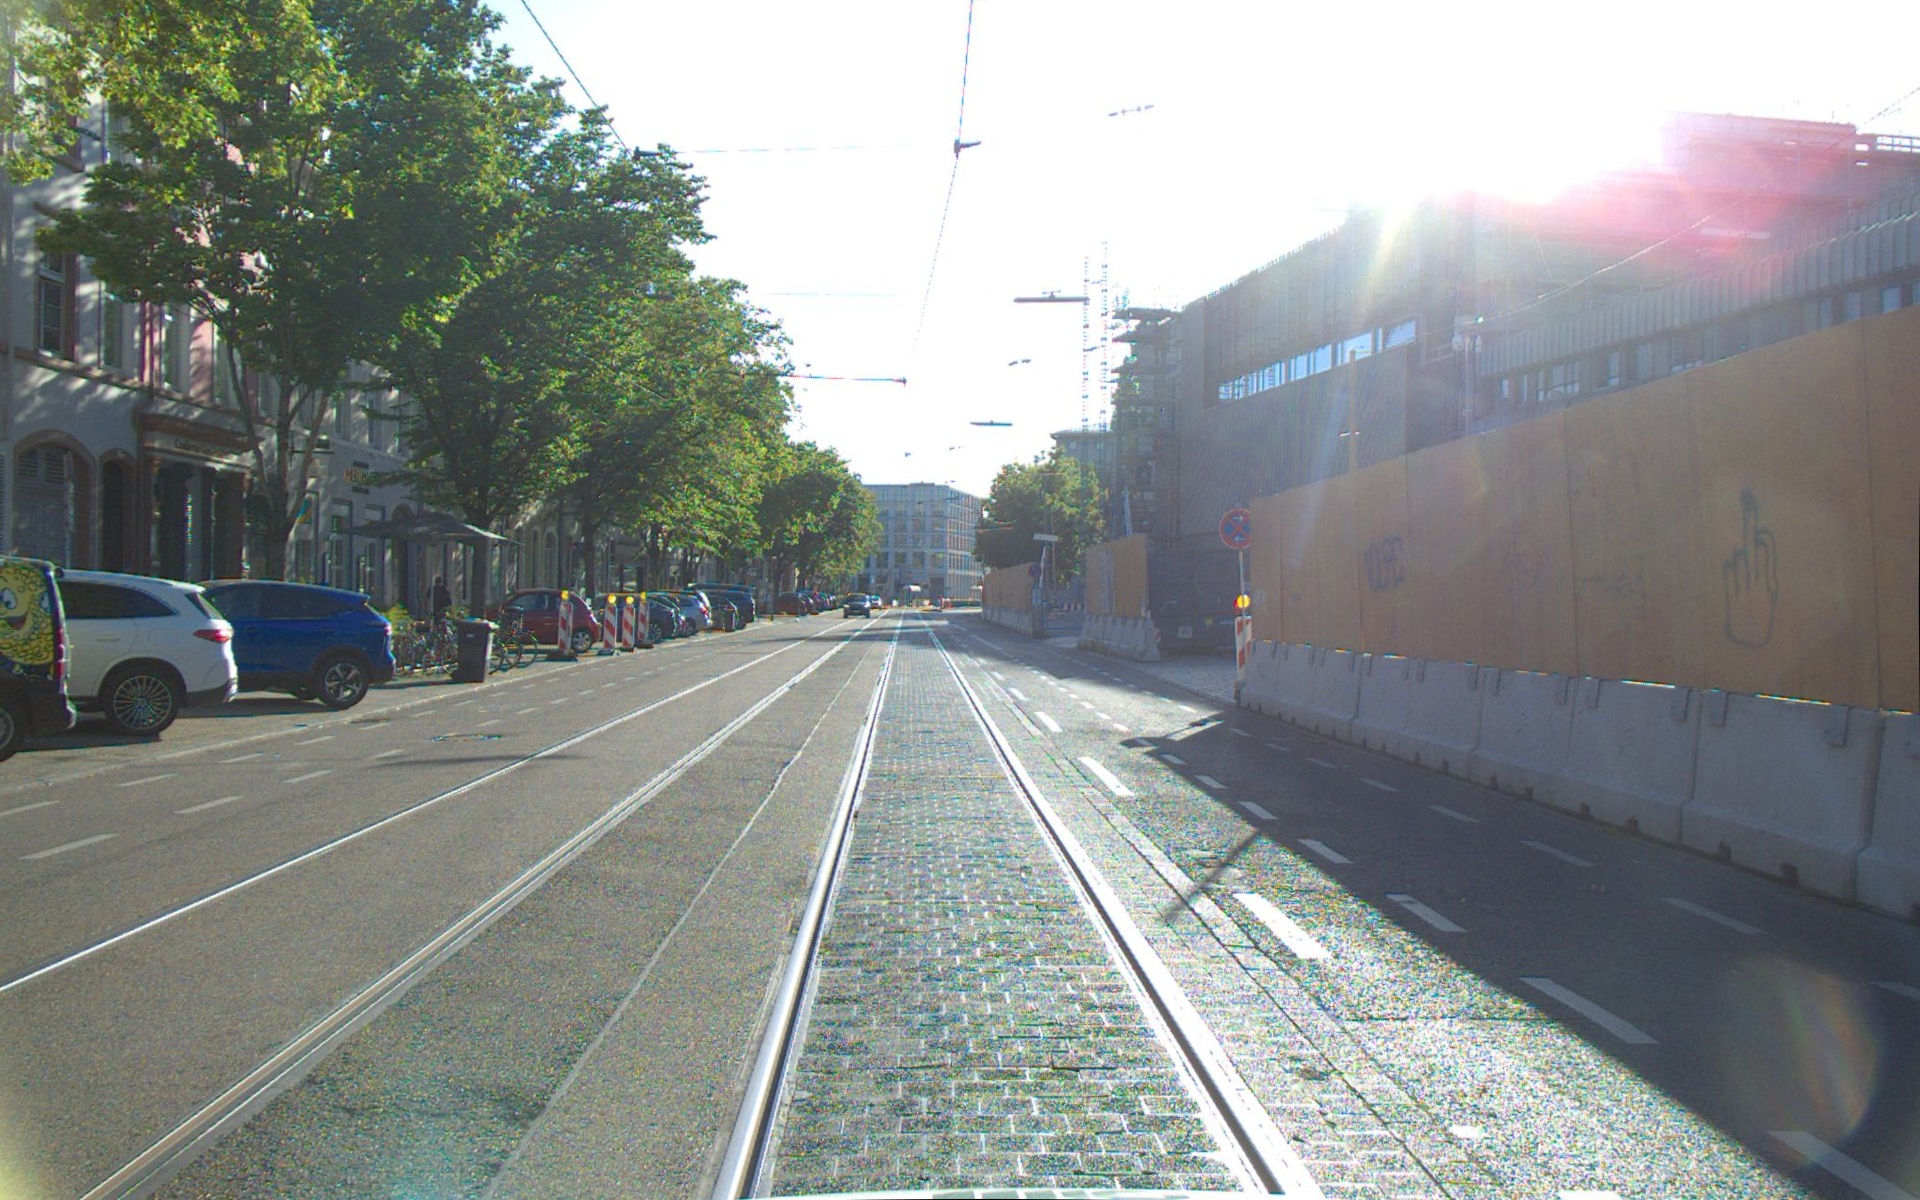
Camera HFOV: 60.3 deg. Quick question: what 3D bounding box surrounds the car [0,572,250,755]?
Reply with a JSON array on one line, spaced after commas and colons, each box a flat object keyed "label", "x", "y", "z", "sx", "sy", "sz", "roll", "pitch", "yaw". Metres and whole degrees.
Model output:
[{"label": "car", "x": -10.273, "y": 0.630, "z": 17.383, "sx": 4.881, "sy": 1.826, "sz": 2.183, "roll": 1, "pitch": 0, "yaw": -34}]

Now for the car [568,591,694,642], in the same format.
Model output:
[{"label": "car", "x": -10.666, "y": 0.536, "z": 53.679, "sx": 3.634, "sy": 1.496, "sz": 1.735, "roll": 2, "pitch": -1, "yaw": -31}]

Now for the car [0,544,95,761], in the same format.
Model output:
[{"label": "car", "x": -9.607, "y": 0.404, "z": 14.449, "sx": 3.404, "sy": 1.875, "sz": 1.713, "roll": 4, "pitch": -3, "yaw": -34}]

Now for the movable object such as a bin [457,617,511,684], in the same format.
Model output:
[{"label": "movable object such as a bin", "x": -8.300, "y": 0.874, "z": 28.859, "sx": 0.670, "sy": 1.096, "sz": 0.710, "roll": 3, "pitch": 0, "yaw": -1}]

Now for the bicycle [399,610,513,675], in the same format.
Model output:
[{"label": "bicycle", "x": -9.465, "y": 0.798, "z": 31.088, "sx": 1.927, "sy": 1.098, "sz": 0.568, "roll": 3, "pitch": 0, "yaw": 0}]

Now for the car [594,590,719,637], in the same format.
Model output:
[{"label": "car", "x": -10.901, "y": 0.491, "z": 59.443, "sx": 4.057, "sy": 1.539, "sz": 1.824, "roll": 2, "pitch": 0, "yaw": -29}]

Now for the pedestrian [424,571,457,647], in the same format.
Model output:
[{"label": "pedestrian", "x": -14.129, "y": 0.247, "z": 44.970, "sx": 0.716, "sy": 2.049, "sz": 0.556, "roll": 0, "pitch": 0, "yaw": -1}]

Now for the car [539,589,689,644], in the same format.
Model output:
[{"label": "car", "x": -10.682, "y": 0.519, "z": 51.099, "sx": 4.142, "sy": 1.517, "sz": 1.925, "roll": 2, "pitch": 0, "yaw": -29}]

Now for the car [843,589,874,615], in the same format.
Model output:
[{"label": "car", "x": -7.000, "y": 0.121, "z": 114.672, "sx": 1.889, "sy": 1.657, "sz": 4.248, "roll": -3, "pitch": 1, "yaw": -1}]

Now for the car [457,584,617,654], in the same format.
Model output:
[{"label": "car", "x": -10.589, "y": 0.485, "z": 41.430, "sx": 3.572, "sy": 1.580, "sz": 1.654, "roll": 2, "pitch": 1, "yaw": -28}]

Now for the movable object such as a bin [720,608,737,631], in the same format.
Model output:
[{"label": "movable object such as a bin", "x": -9.627, "y": 0.807, "z": 68.864, "sx": 0.566, "sy": 0.929, "sz": 0.572, "roll": 2, "pitch": 1, "yaw": -18}]

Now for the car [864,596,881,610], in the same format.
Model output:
[{"label": "car", "x": -9.233, "y": 0.310, "z": 174.874, "sx": 1.675, "sy": 1.461, "sz": 4.169, "roll": 0, "pitch": 0, "yaw": -2}]

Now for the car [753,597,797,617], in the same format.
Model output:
[{"label": "car", "x": -13.275, "y": 0.494, "z": 118.837, "sx": 2.902, "sy": 1.355, "sz": 1.203, "roll": 0, "pitch": 0, "yaw": -30}]

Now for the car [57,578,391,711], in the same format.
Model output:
[{"label": "car", "x": -9.828, "y": 0.533, "z": 22.225, "sx": 3.864, "sy": 1.637, "sz": 1.551, "roll": -1, "pitch": 0, "yaw": -39}]

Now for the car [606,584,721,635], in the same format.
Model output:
[{"label": "car", "x": -11.246, "y": 0.352, "z": 62.894, "sx": 4.023, "sy": 1.707, "sz": 1.839, "roll": 3, "pitch": 0, "yaw": -4}]

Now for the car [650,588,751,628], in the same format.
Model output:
[{"label": "car", "x": -11.592, "y": 0.345, "z": 73.958, "sx": 4.177, "sy": 1.714, "sz": 1.798, "roll": 0, "pitch": 0, "yaw": -23}]

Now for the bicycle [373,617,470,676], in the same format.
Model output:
[{"label": "bicycle", "x": -9.562, "y": 0.826, "z": 29.404, "sx": 1.571, "sy": 1.005, "sz": 0.388, "roll": 2, "pitch": 0, "yaw": -13}]

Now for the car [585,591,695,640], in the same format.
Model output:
[{"label": "car", "x": -10.930, "y": 0.522, "z": 56.541, "sx": 3.327, "sy": 1.519, "sz": 1.597, "roll": 2, "pitch": 0, "yaw": -30}]

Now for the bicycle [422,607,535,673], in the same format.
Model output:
[{"label": "bicycle", "x": -9.422, "y": 0.782, "z": 32.418, "sx": 1.962, "sy": 1.106, "sz": 0.567, "roll": 5, "pitch": 0, "yaw": 0}]

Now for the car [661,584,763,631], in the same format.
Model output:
[{"label": "car", "x": -11.474, "y": 0.343, "z": 76.489, "sx": 4.296, "sy": 2.021, "sz": 1.935, "roll": 2, "pitch": -1, "yaw": -24}]

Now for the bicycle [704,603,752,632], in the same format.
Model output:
[{"label": "bicycle", "x": -9.773, "y": 0.737, "z": 69.662, "sx": 1.936, "sy": 1.164, "sz": 0.490, "roll": 2, "pitch": -1, "yaw": -20}]

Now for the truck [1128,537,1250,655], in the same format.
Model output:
[{"label": "truck", "x": 6.204, "y": -0.114, "z": 45.544, "sx": 2.468, "sy": 2.959, "sz": 5.506, "roll": -2, "pitch": 0, "yaw": 0}]
